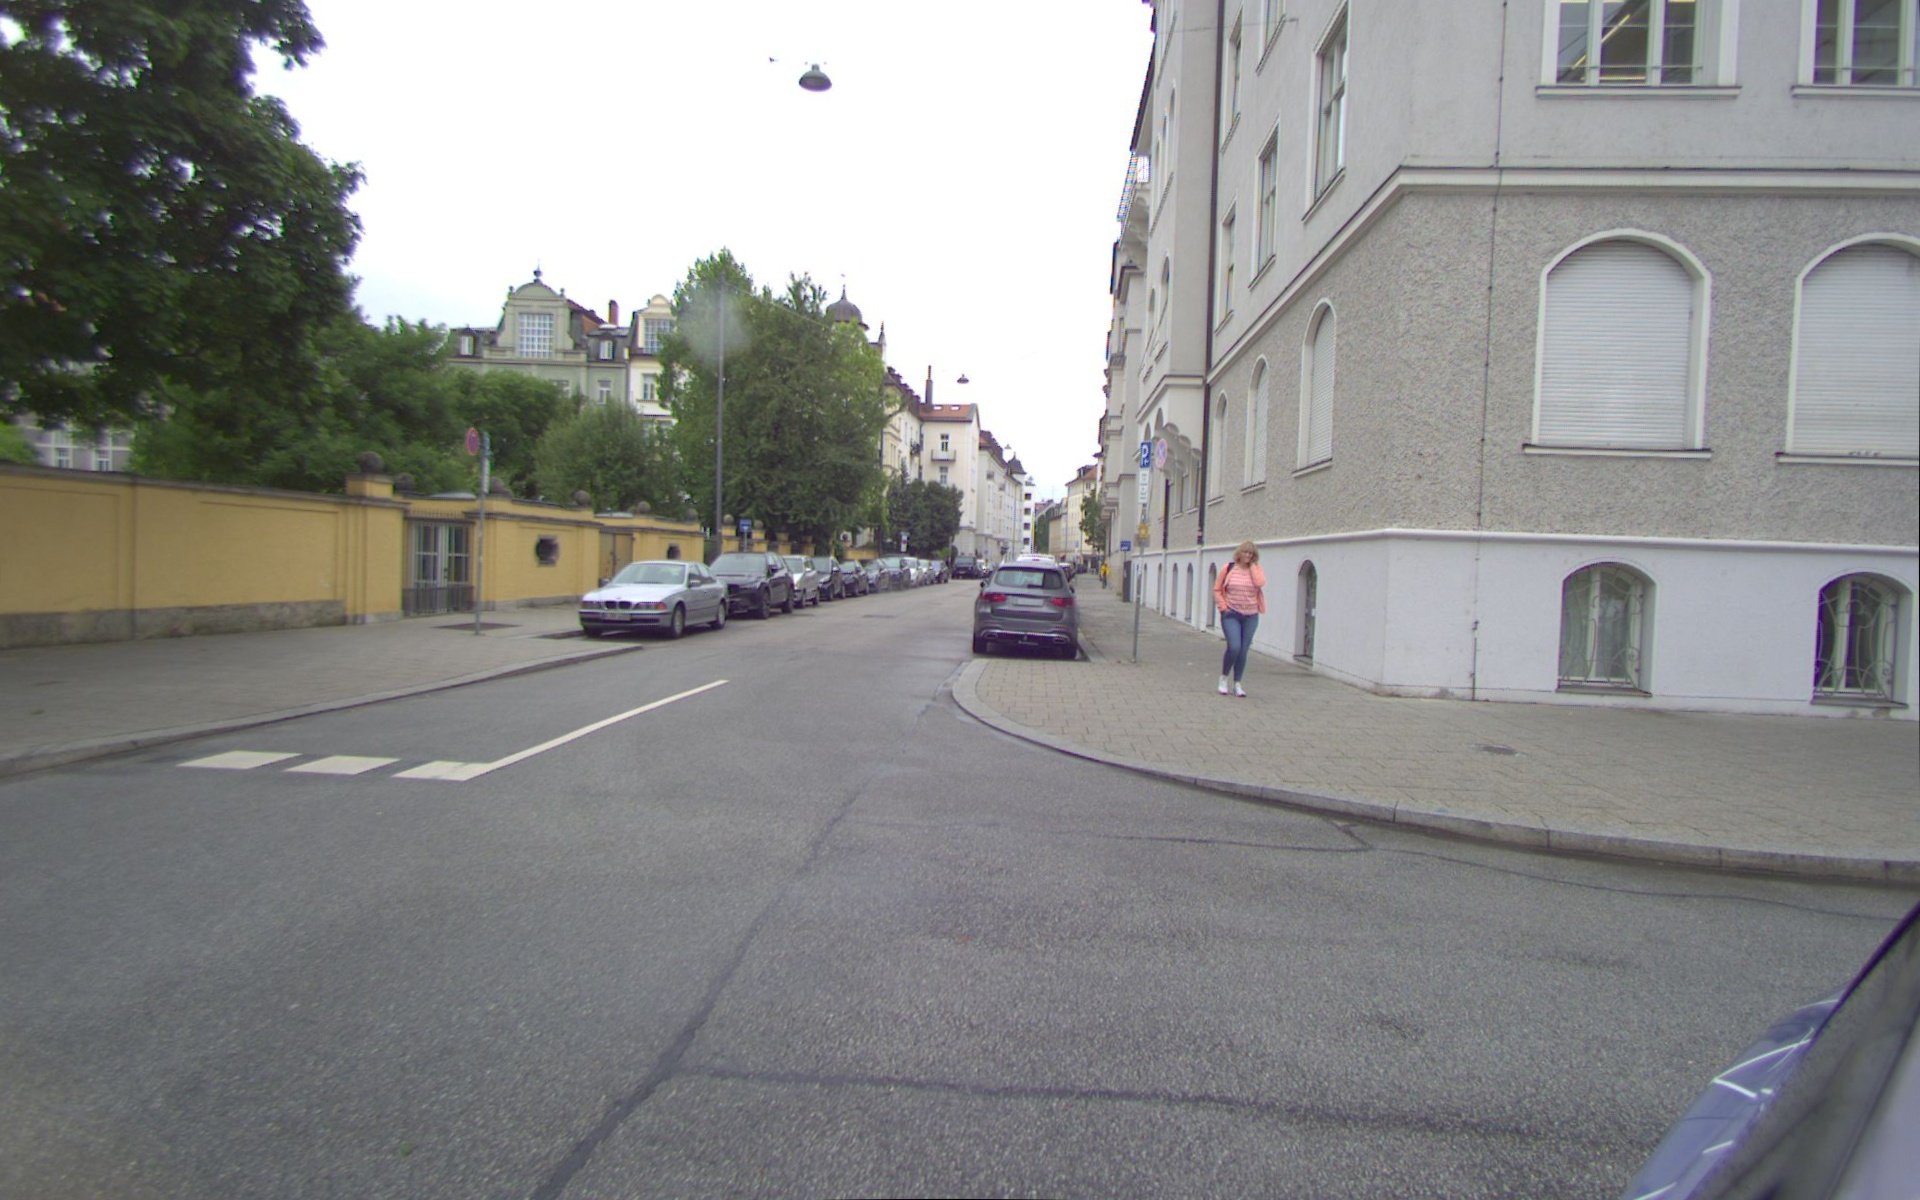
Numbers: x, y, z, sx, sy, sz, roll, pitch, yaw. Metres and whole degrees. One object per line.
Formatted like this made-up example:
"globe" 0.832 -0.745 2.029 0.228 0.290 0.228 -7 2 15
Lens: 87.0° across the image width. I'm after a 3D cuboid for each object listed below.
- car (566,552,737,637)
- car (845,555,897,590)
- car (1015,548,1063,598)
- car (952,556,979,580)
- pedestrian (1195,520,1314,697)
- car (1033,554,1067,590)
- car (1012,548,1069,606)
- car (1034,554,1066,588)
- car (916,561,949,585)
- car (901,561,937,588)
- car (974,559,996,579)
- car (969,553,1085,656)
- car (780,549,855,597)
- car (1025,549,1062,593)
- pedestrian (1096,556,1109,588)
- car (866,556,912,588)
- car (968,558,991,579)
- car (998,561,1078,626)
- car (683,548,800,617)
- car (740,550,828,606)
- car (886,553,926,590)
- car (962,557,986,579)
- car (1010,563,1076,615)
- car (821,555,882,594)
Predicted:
"car" -5.854 -0.190 19.829 1.792 1.419 4.571 2 2 2
"car" -3.922 -1.256 45.278 1.743 1.462 4.065 2 2 3
"car" 3.286 -1.171 42.692 1.858 1.906 4.419 2 2 3
"car" 0.444 -2.634 81.965 1.744 1.824 4.339 2 2 5
"pedestrian" 3.330 0.063 11.587 1.194 1.896 1.087 2 2 14
"car" 5.427 -1.729 61.334 1.858 2.061 4.418 2 2 4
"car" 2.860 -0.865 36.541 1.858 1.875 4.419 2 2 3
"car" 5.811 -1.903 65.961 1.858 2.061 4.418 2 2 4
"car" -1.716 -1.764 64.882 1.743 1.462 4.065 2 2 3
"car" -2.397 -1.548 59.739 1.743 1.462 4.065 2 2 3
"car" 2.431 -3.004 97.440 1.744 1.824 4.339 2 2 5
"car" 1.238 -0.018 19.030 1.858 1.636 4.419 2 2 3
"car" -4.989 -0.982 35.938 1.792 1.549 4.402 2 2 3
"car" 4.613 -1.641 56.419 1.858 2.284 4.418 2 2 4
"pedestrian" 9.068 -1.773 64.405 0.698 2.038 0.708 1 2 6
"car" -3.421 -1.411 49.628 1.743 1.462 4.065 2 2 3
"car" 1.784 -2.876 92.356 1.744 1.824 4.339 2 2 5
"car" 2.018 -0.245 26.696 1.858 1.481 4.419 3 2 3
"car" -5.430 -0.502 25.712 1.792 1.549 4.571 2 2 2
"car" -5.345 -0.724 31.191 1.791 1.549 4.403 2 2 2
"car" -2.907 -1.597 55.141 1.743 1.908 4.065 2 2 3
"car" 1.224 -2.757 87.433 1.744 1.824 4.339 2 2 5
"car" 2.520 -0.408 31.399 1.858 1.391 4.419 3 2 3
"car" -4.326 -1.068 40.809 1.743 1.462 4.402 2 2 3
